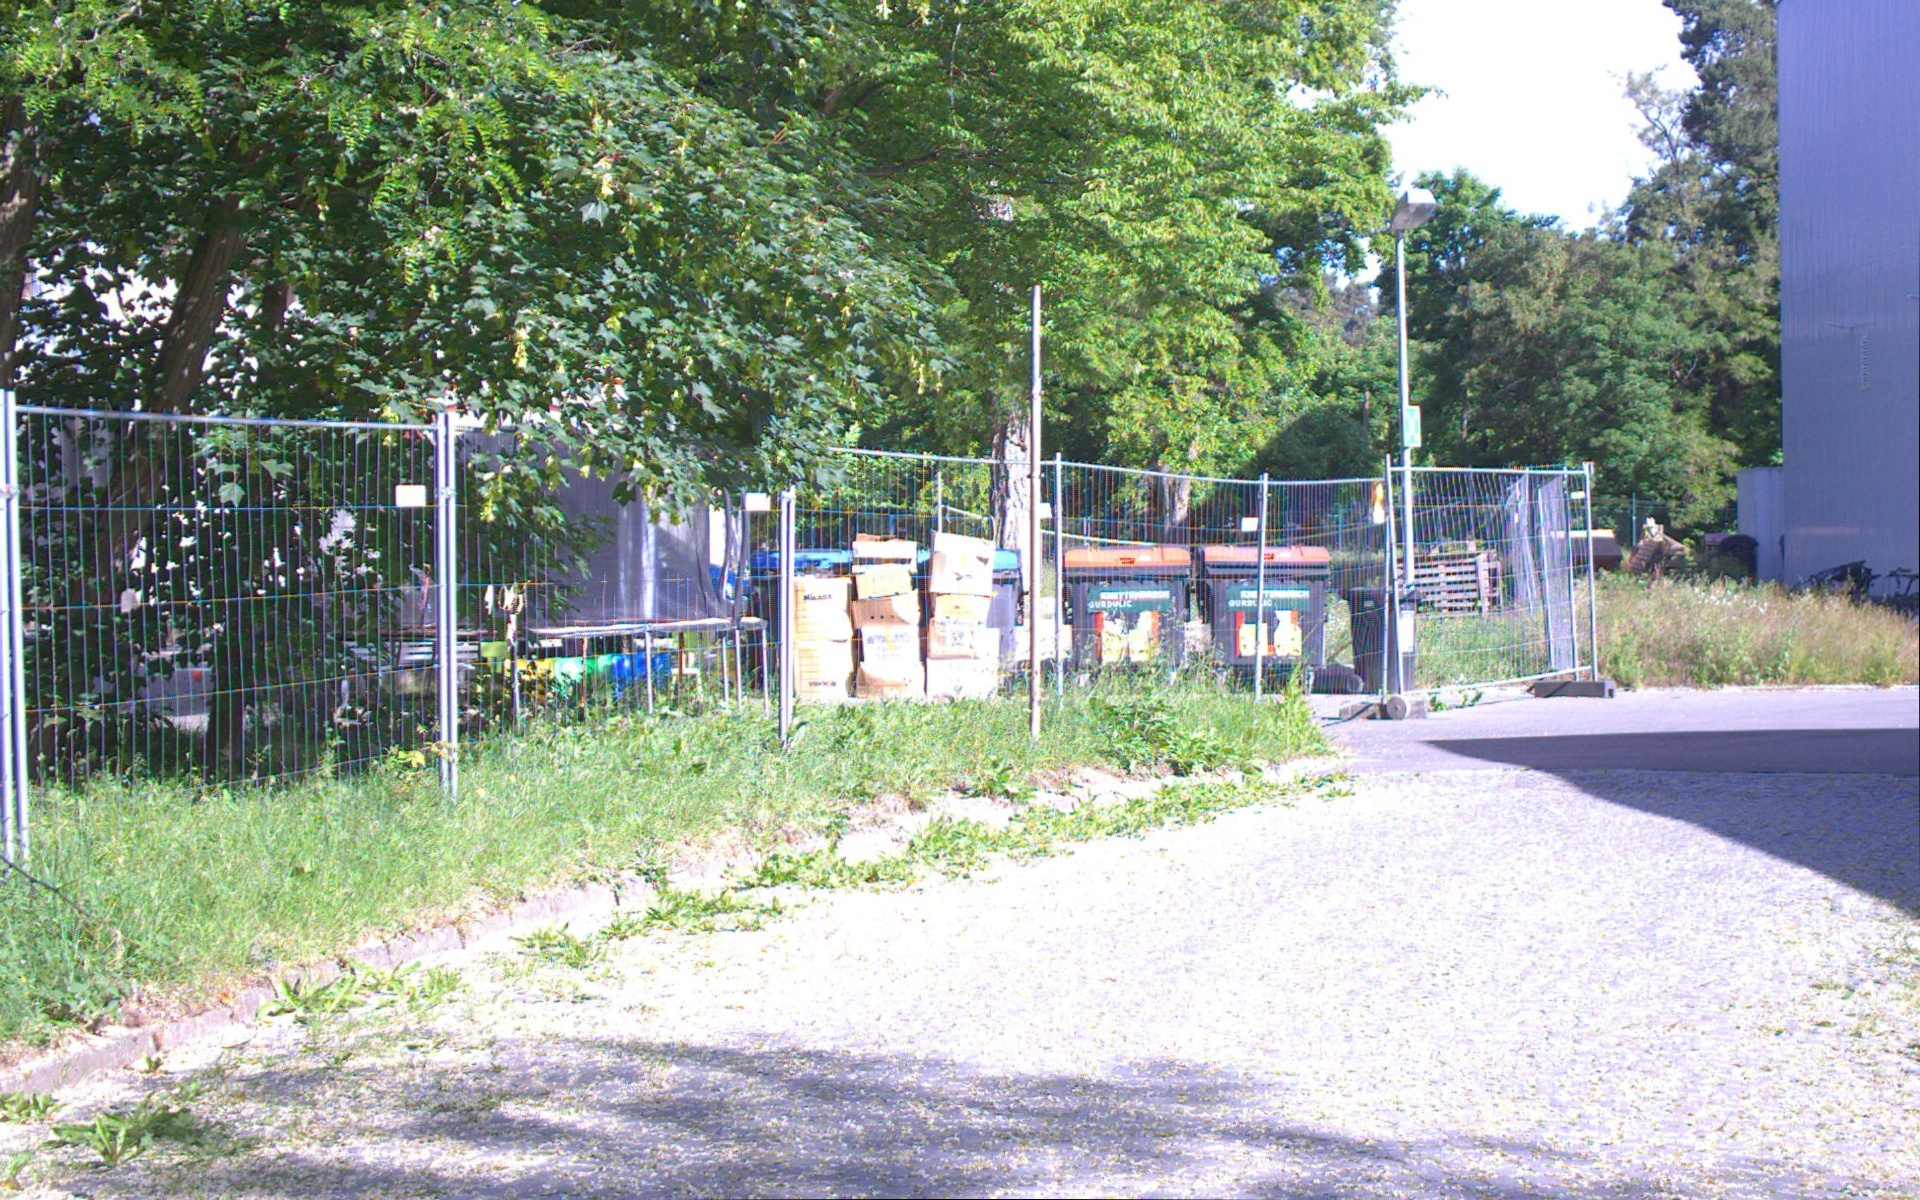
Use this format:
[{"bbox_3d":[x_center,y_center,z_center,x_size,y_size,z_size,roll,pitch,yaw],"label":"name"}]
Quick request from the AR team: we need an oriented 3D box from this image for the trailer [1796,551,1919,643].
[{"bbox_3d":[12.793,-0.061,46.402,2.710,1.195,1.246,-1,1,2],"label":"trailer"}]

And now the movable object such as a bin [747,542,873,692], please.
[{"bbox_3d":[-1.463,0.159,33.723,1.084,1.433,1.056,-1,1,5],"label":"movable object such as a bin"}]

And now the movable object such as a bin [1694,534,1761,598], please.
[{"bbox_3d":[20.390,-0.904,91.350,1.363,1.650,2.842,-1,1,5],"label":"movable object such as a bin"}]

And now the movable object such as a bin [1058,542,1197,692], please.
[{"bbox_3d":[1.624,0.156,33.486,1.287,1.421,1.032,-1,1,1],"label":"movable object such as a bin"}]

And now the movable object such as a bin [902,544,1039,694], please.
[{"bbox_3d":[0.105,0.181,33.569,1.287,1.421,1.032,-1,1,1],"label":"movable object such as a bin"}]

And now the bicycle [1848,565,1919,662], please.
[{"bbox_3d":[11.511,0.151,40.666,1.883,1.122,0.433,-1,1,2],"label":"bicycle"}]

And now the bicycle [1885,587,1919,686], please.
[{"bbox_3d":[11.243,0.391,38.026,1.883,1.078,0.433,-1,1,2],"label":"bicycle"}]

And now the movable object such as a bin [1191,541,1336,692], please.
[{"bbox_3d":[2.942,0.151,33.482,1.287,1.421,1.032,-1,1,-1],"label":"movable object such as a bin"}]

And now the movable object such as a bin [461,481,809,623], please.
[{"bbox_3d":[-4.721,-0.705,50.480,4.871,1.963,1.933,-1,1,1],"label":"movable object such as a bin"}]

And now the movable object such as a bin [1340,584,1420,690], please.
[{"bbox_3d":[4.052,0.352,33.127,0.642,1.004,0.604,-1,1,18],"label":"movable object such as a bin"}]
